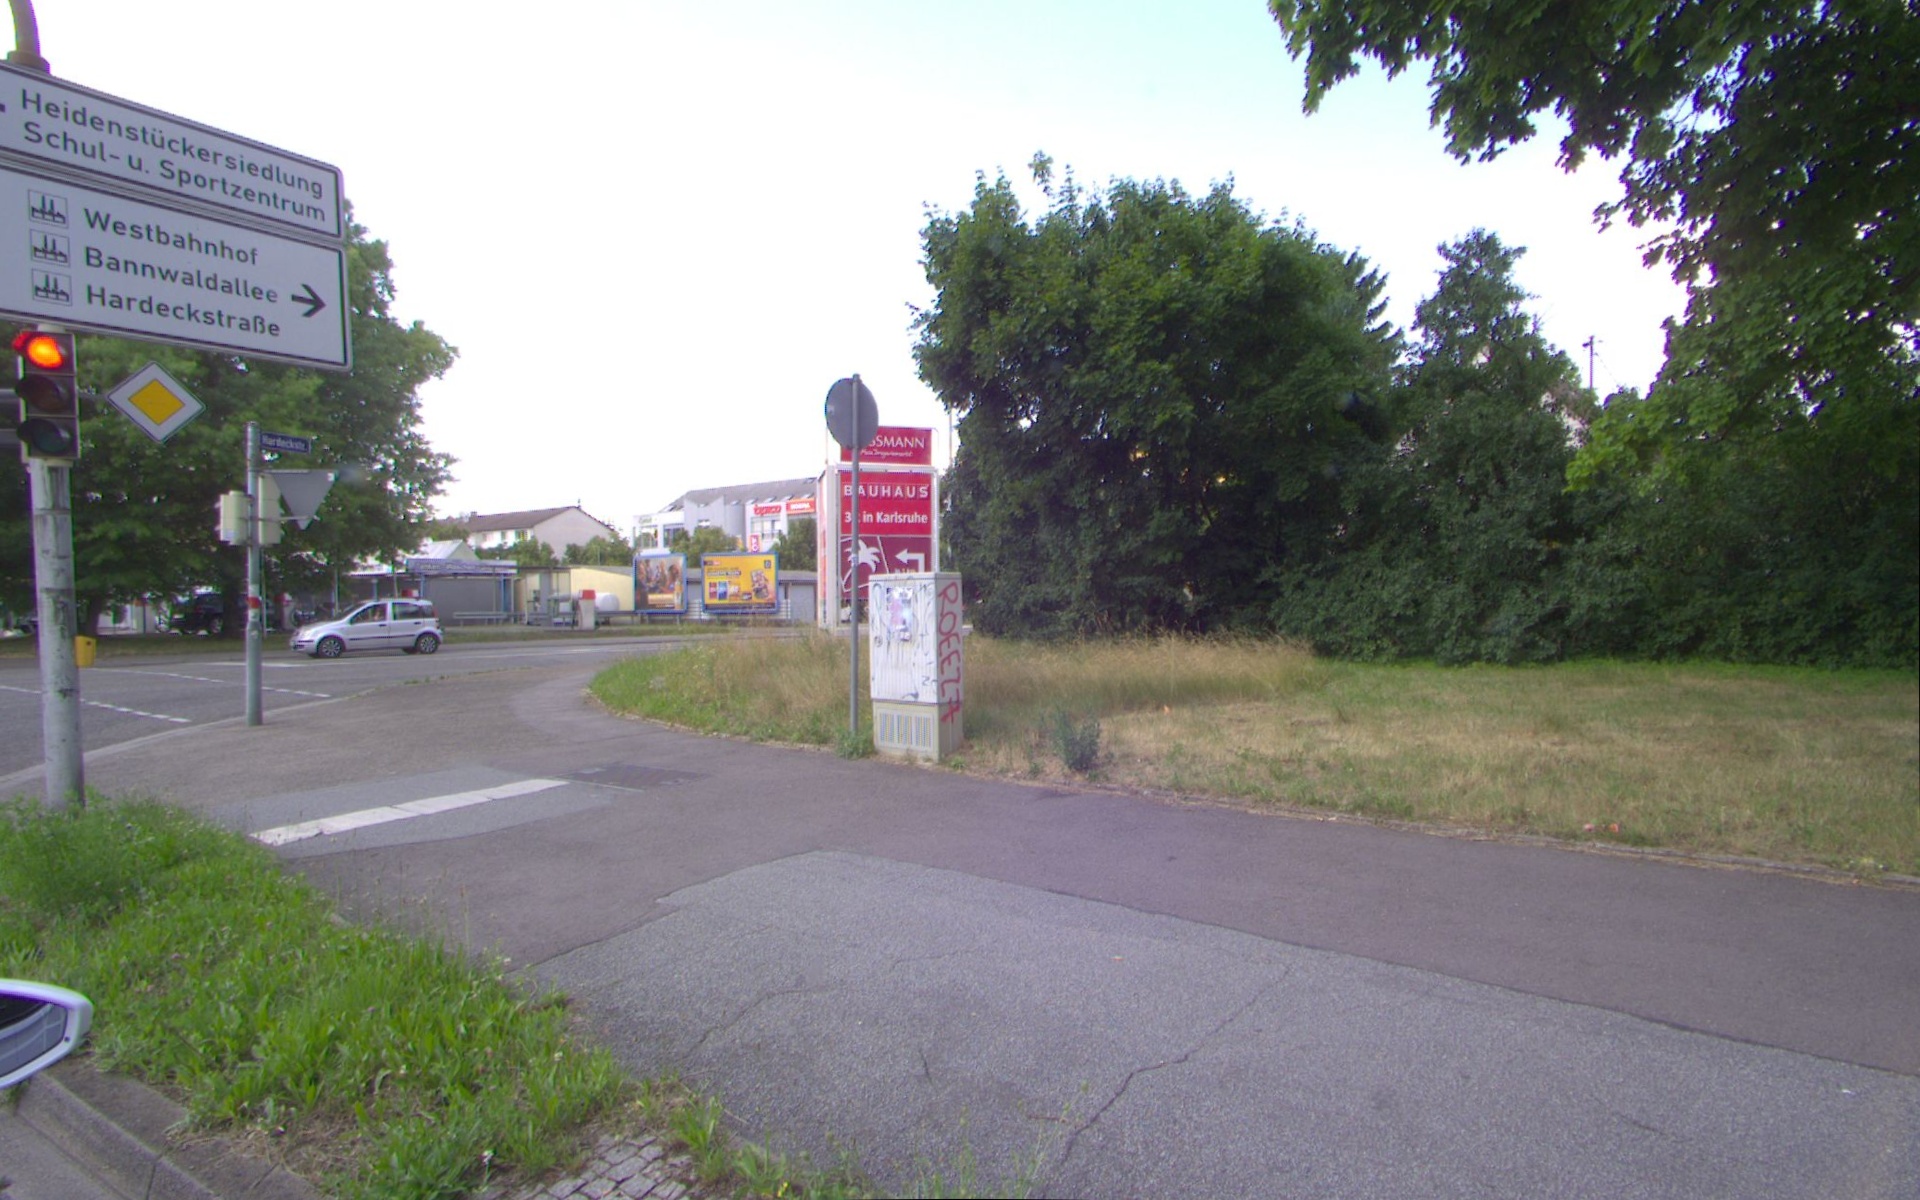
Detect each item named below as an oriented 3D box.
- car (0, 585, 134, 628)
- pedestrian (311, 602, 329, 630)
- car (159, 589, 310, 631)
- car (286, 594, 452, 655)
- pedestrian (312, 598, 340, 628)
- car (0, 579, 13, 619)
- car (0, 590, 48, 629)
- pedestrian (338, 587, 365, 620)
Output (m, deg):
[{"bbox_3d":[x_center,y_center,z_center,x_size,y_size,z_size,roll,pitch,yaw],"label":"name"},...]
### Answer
[{"bbox_3d":[-40.968,0.270,45.261,2.117,1.851,5.184,-1,0,22],"label":"car"},{"bbox_3d":[-36.399,0.905,56.932,0.616,1.565,0.651,0,1,39],"label":"pedestrian"},{"bbox_3d":[-29.534,0.382,40.921,2.117,1.617,4.552,-1,0,22],"label":"car"},{"bbox_3d":[-15.806,0.613,26.881,1.543,1.537,3.574,0,0,45],"label":"car"},{"bbox_3d":[-25.256,0.522,39.881,0.752,1.205,0.645,0,-1,-12],"label":"pedestrian"},{"bbox_3d":[-61.304,-0.023,62.434,5.665,2.486,1.747,-1,1,31],"label":"car"},{"bbox_3d":[-50.143,0.500,50.914,2.121,2.031,5.174,0,0,29],"label":"car"},{"bbox_3d":[-24.375,0.152,40.126,0.752,1.271,0.645,0,-1,-12],"label":"pedestrian"}]
